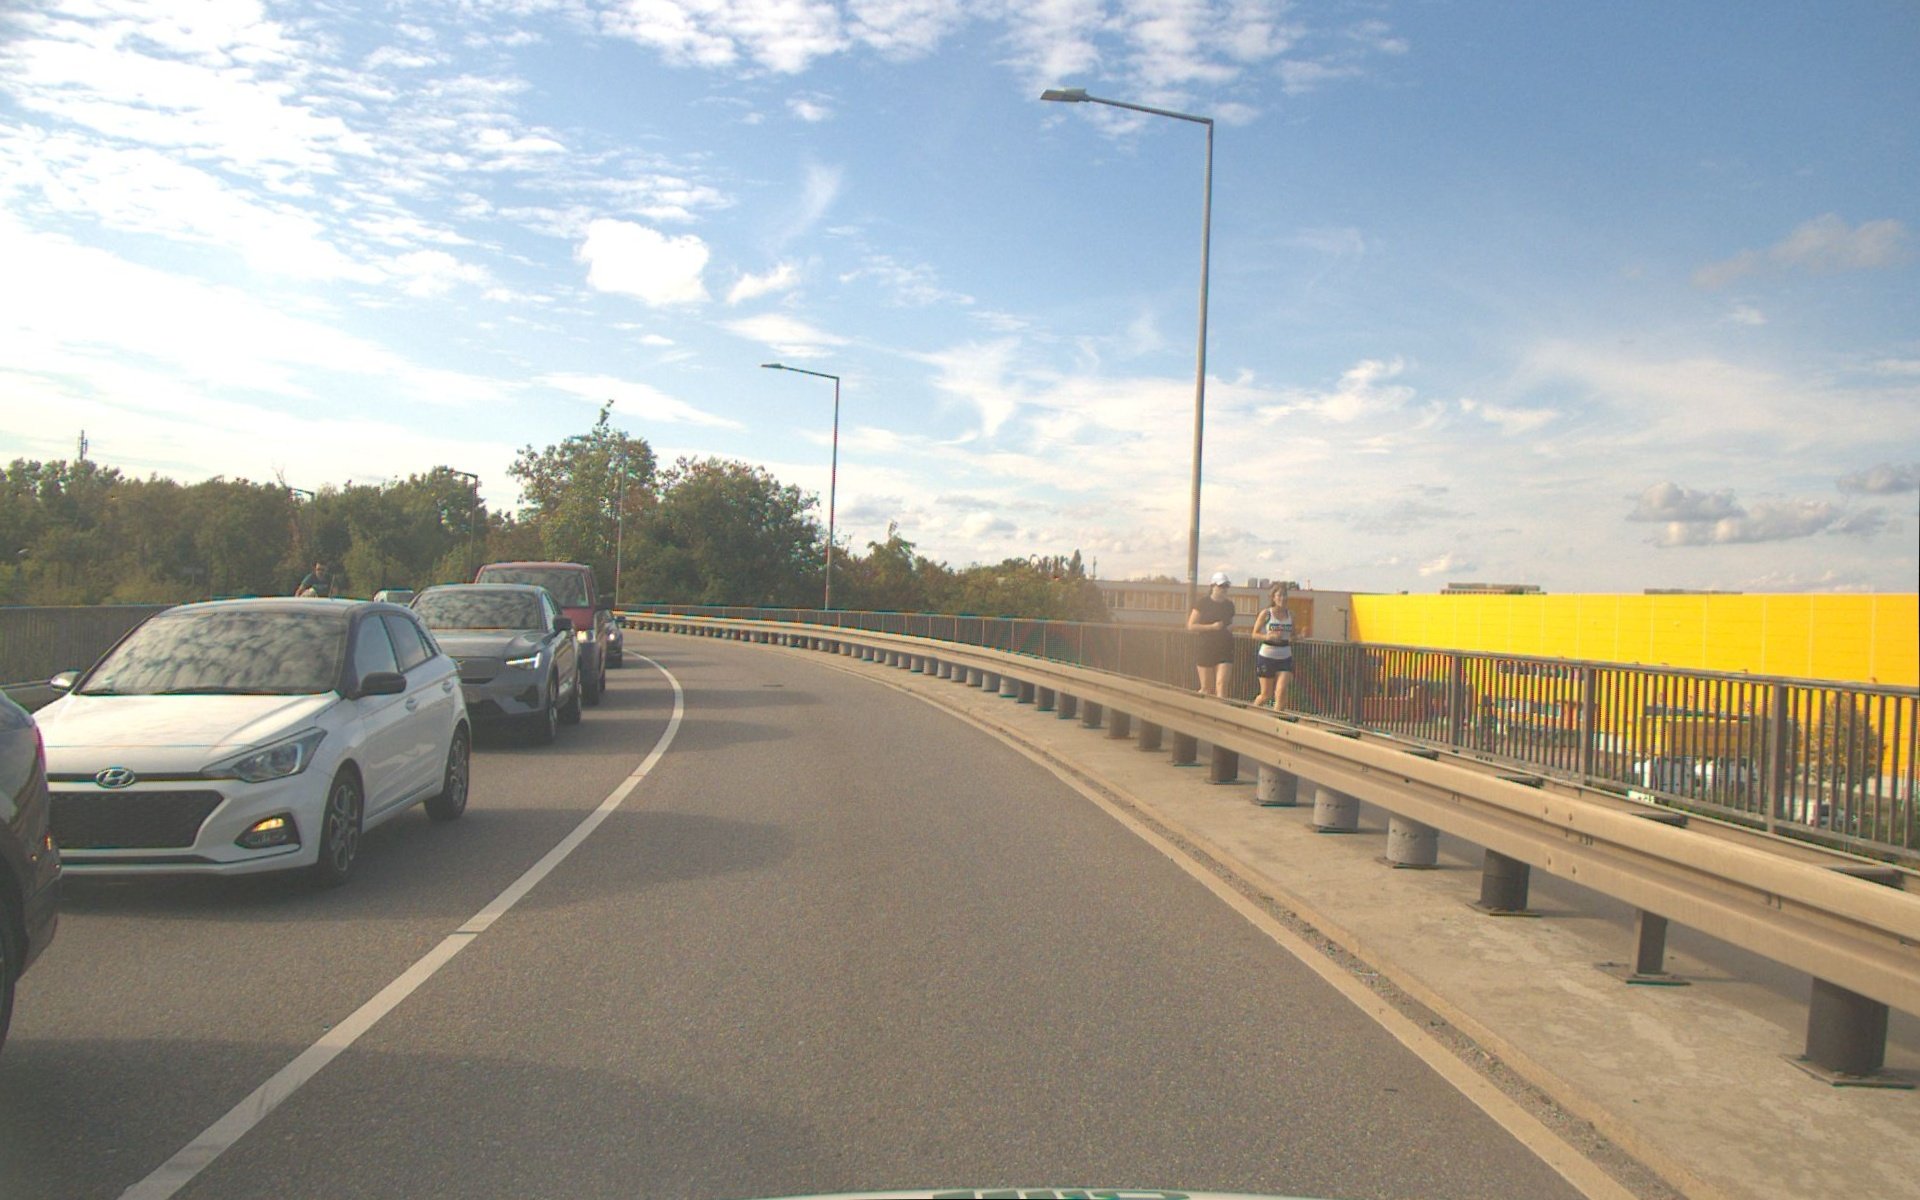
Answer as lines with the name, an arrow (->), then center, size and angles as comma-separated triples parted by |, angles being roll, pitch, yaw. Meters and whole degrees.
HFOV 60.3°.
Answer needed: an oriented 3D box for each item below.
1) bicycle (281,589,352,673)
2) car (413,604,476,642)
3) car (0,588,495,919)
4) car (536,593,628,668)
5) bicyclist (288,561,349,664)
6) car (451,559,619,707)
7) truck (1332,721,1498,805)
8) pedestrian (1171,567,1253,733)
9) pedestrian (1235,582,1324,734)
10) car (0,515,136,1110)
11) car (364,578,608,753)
bicycle -> -10.760, 0.502, 27.709 | 0.750, 1.355, 1.911 | 0, 0, -10
car -> -21.653, 0.927, 69.361 | 1.722, 1.527, 4.036 | 0, 0, -30
car -> -4.033, 0.704, 9.728 | 1.706, 1.527, 4.074 | 0, 0, -4
car -> -8.123, 0.604, 35.335 | 1.802, 1.491, 4.500 | 0, 0, -14
bicyclist -> -10.778, 0.202, 27.817 | 0.752, 1.690, 1.117 | 0, 0, -11
car -> -6.065, 0.420, 24.121 | 1.971, 1.936, 4.856 | 0, 0, -10
truck -> 24.931, 8.902, 90.648 | 8.435, 4.162, 2.661 | 0, 1, -10
pedestrian -> 2.630, 0.513, 17.337 | 0.663, 1.690, 0.864 | 0, 0, -5
pedestrian -> 3.411, 0.605, 17.715 | 0.664, 1.570, 0.959 | 0, 0, -8
car -> -3.578, 0.617, 3.112 | 1.792, 1.701, 4.864 | 0, 0, -3
car -> -4.915, 0.603, 17.726 | 1.718, 1.637, 4.309 | 0, 0, -5
